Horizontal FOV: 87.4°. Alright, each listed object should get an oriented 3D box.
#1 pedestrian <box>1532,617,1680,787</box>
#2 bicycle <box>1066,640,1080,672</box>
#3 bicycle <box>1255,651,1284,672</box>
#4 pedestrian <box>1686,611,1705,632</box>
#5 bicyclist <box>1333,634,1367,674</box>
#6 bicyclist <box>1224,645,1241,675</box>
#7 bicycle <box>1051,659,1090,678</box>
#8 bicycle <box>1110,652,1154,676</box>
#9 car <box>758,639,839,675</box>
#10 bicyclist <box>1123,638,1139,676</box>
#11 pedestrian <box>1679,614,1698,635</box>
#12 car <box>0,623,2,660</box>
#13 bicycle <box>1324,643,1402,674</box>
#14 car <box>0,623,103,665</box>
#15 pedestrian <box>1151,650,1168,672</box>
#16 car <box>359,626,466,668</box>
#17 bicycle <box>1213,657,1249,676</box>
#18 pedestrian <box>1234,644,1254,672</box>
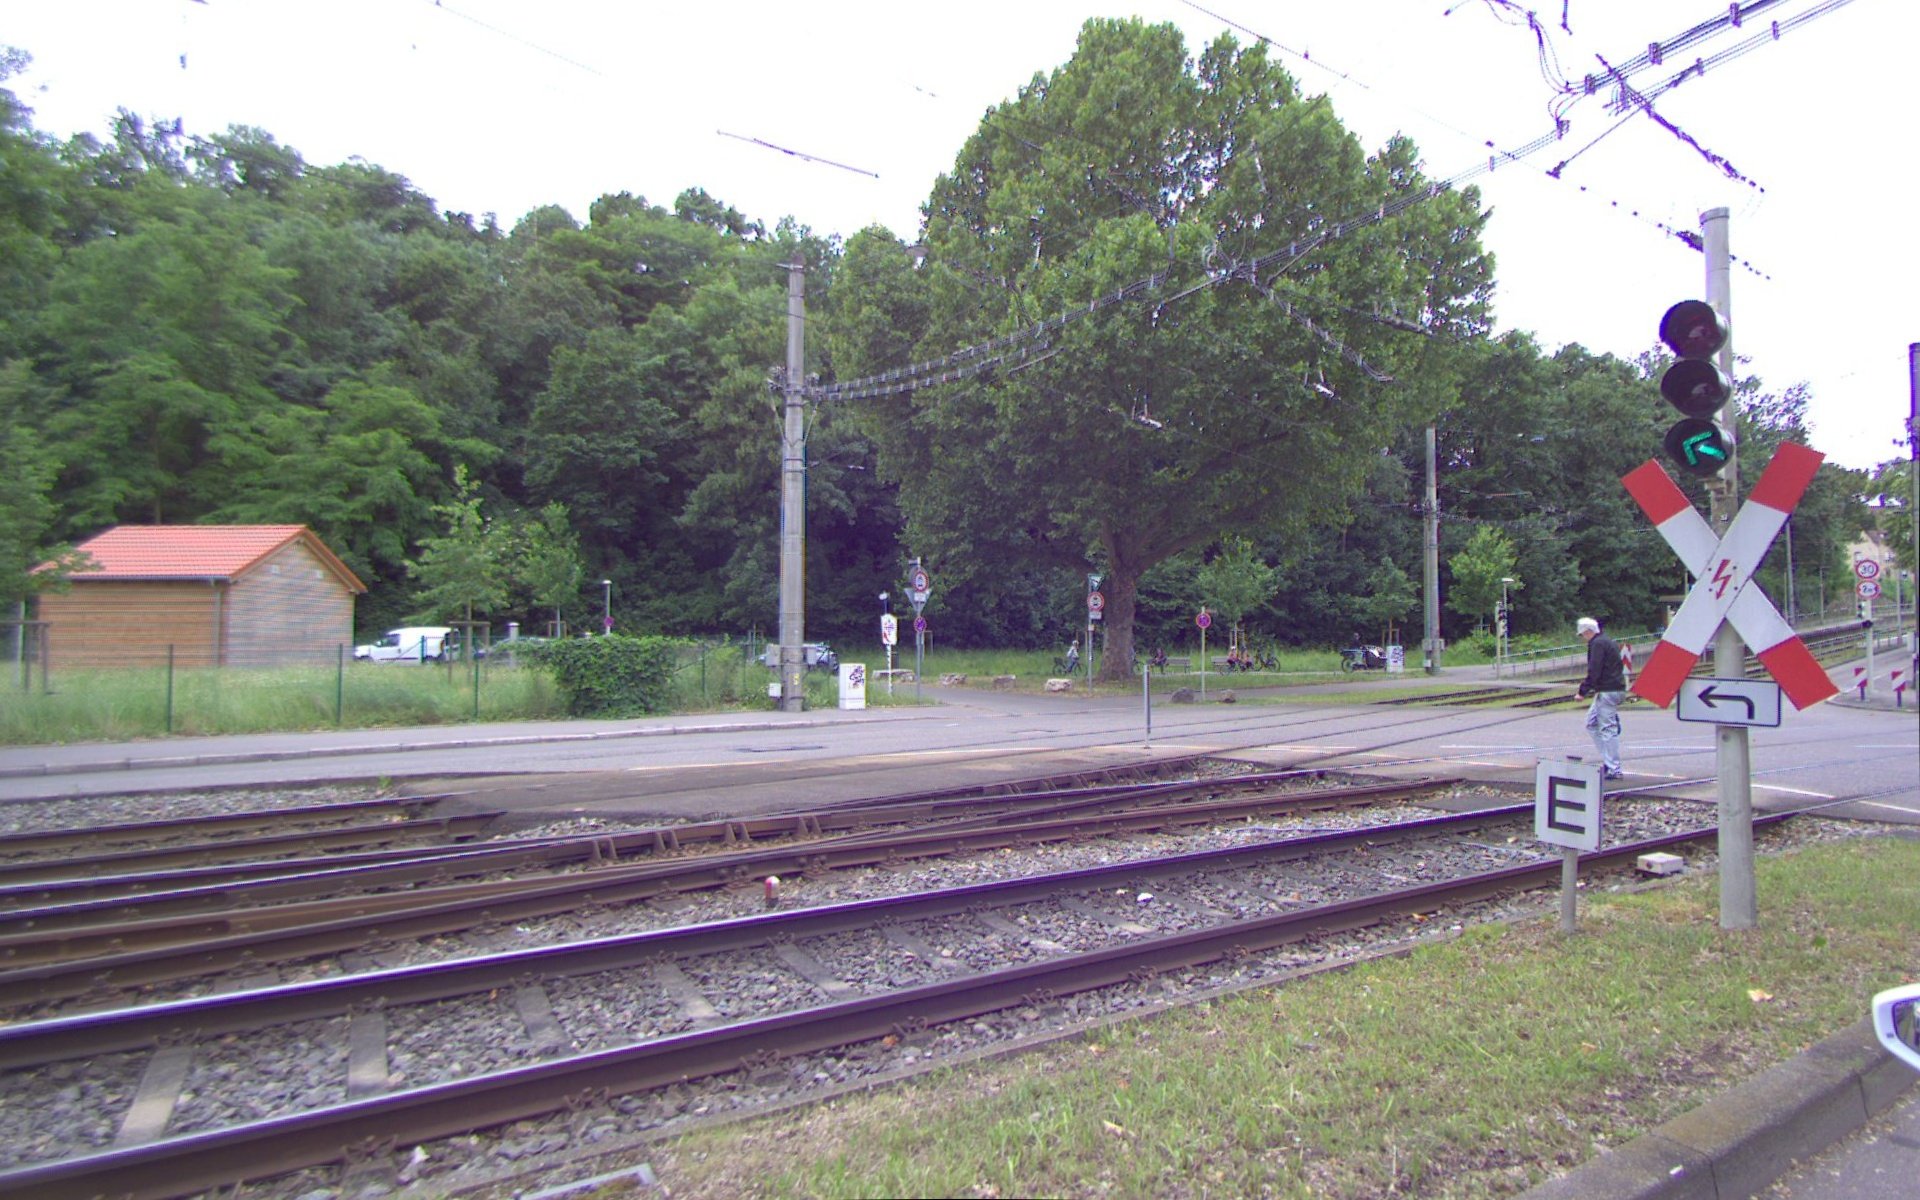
[{"bbox_3d":[7.190,1.094,11.229,0.800,1.783,1.117,2,0,-16],"label":"pedestrian"},{"bbox_3d":[4.917,2.443,43.874,0.506,1.348,0.454,-1,1,-8],"label":"bicycle"},{"bbox_3d":[14.644,2.897,47.578,0.611,0.897,1.743,2,0,-10],"label":"bicycle"},{"bbox_3d":[48.071,1.424,65.671,0.780,1.344,0.766,2,0,-37],"label":"pedestrian"},{"bbox_3d":[17.829,2.454,45.903,1.267,1.734,0.735,-1,2,0],"label":"bicyclist"},{"bbox_3d":[12.278,2.706,45.286,0.571,1.319,0.454,-3,2,-12],"label":"bicyclist"},{"bbox_3d":[4.827,3.004,43.871,1.622,0.749,0.454,-1,1,-8],"label":"bicycle"},{"bbox_3d":[7.719,2.874,45.070,1.907,1.055,0.475,0,1,-4],"label":"bicycle"},{"bbox_3d":[-7.279,2.550,45.470,3.436,1.443,1.700,2,0,-3],"label":"car"},{"bbox_3d":[7.665,2.559,45.056,0.612,1.697,0.475,0,1,-4],"label":"bicyclist"},{"bbox_3d":[47.114,1.590,64.969,0.780,1.344,0.766,-1,2,-37],"label":"pedestrian"},{"bbox_3d":[-43.947,1.767,43.208,3.612,1.634,1.756,2,0,-6],"label":"car"},{"bbox_3d":[18.398,2.664,45.922,3.280,1.307,0.735,-1,2,0],"label":"bicycle"},{"bbox_3d":[-39.753,1.904,43.500,3.610,1.634,1.757,2,0,-3],"label":"car"},{"bbox_3d":[9.303,2.833,46.822,0.610,1.003,0.531,2,0,-14],"label":"pedestrian"},{"bbox_3d":[-24.062,2.053,44.233,3.610,1.634,1.909,2,0,-3],"label":"car"},{"bbox_3d":[12.221,2.996,45.275,1.532,0.749,0.454,-3,2,-13],"label":"bicycle"},{"bbox_3d":[13.359,2.719,47.302,0.662,1.251,0.578,2,0,-16],"label":"pedestrian"}]
